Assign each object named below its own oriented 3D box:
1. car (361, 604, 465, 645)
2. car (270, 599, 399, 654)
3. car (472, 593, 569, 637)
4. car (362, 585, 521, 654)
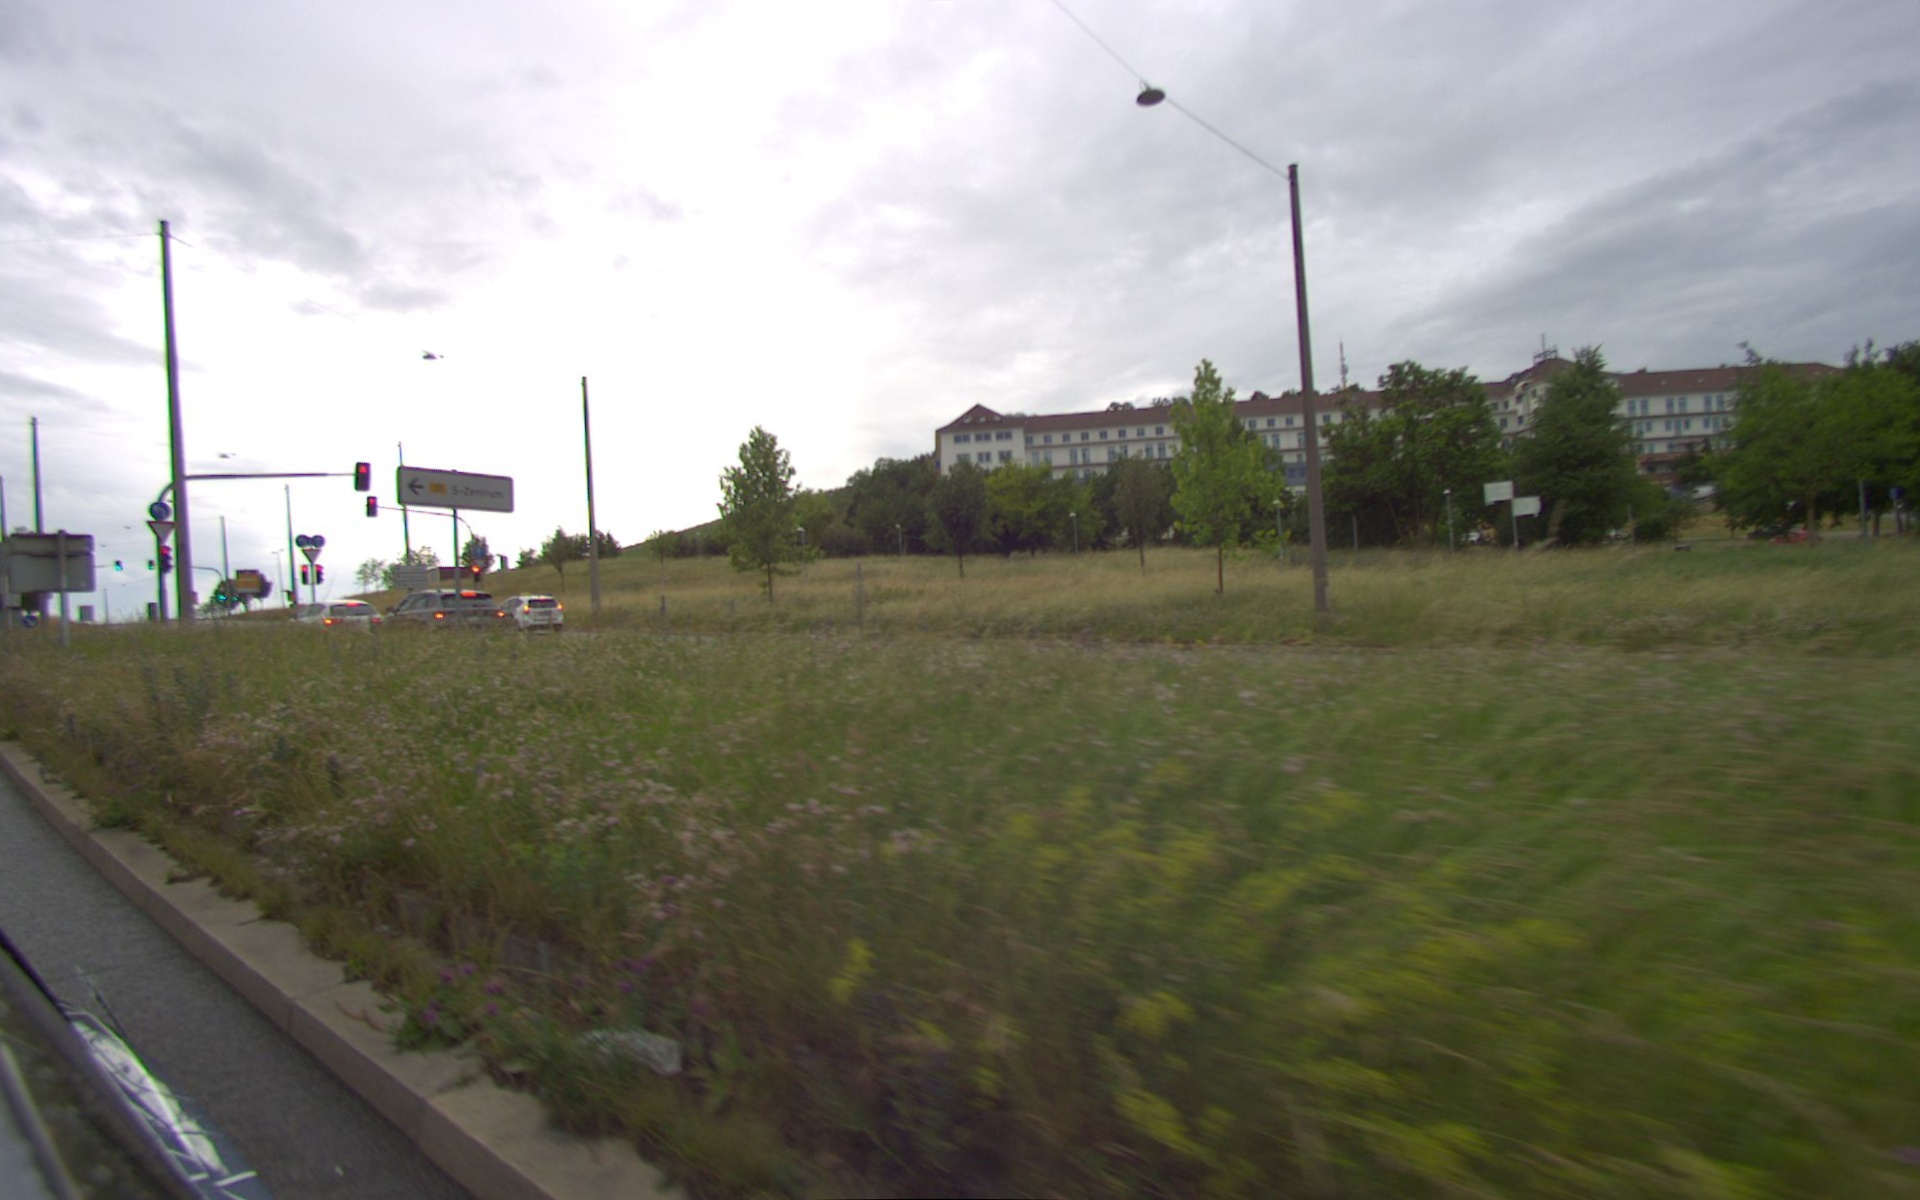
[{"bbox_3d":[-18.579,0.824,34.310,4.016,1.316,1.784,-2,-1,41],"label":"car"},{"bbox_3d":[-18.480,0.775,29.814,4.435,1.433,1.941,-2,1,41],"label":"car"},{"bbox_3d":[-18.483,0.634,42.456,4.799,1.656,1.972,-1,1,44],"label":"car"},{"bbox_3d":[-13.043,0.477,25.373,4.435,1.523,1.973,-2,1,41],"label":"car"}]
